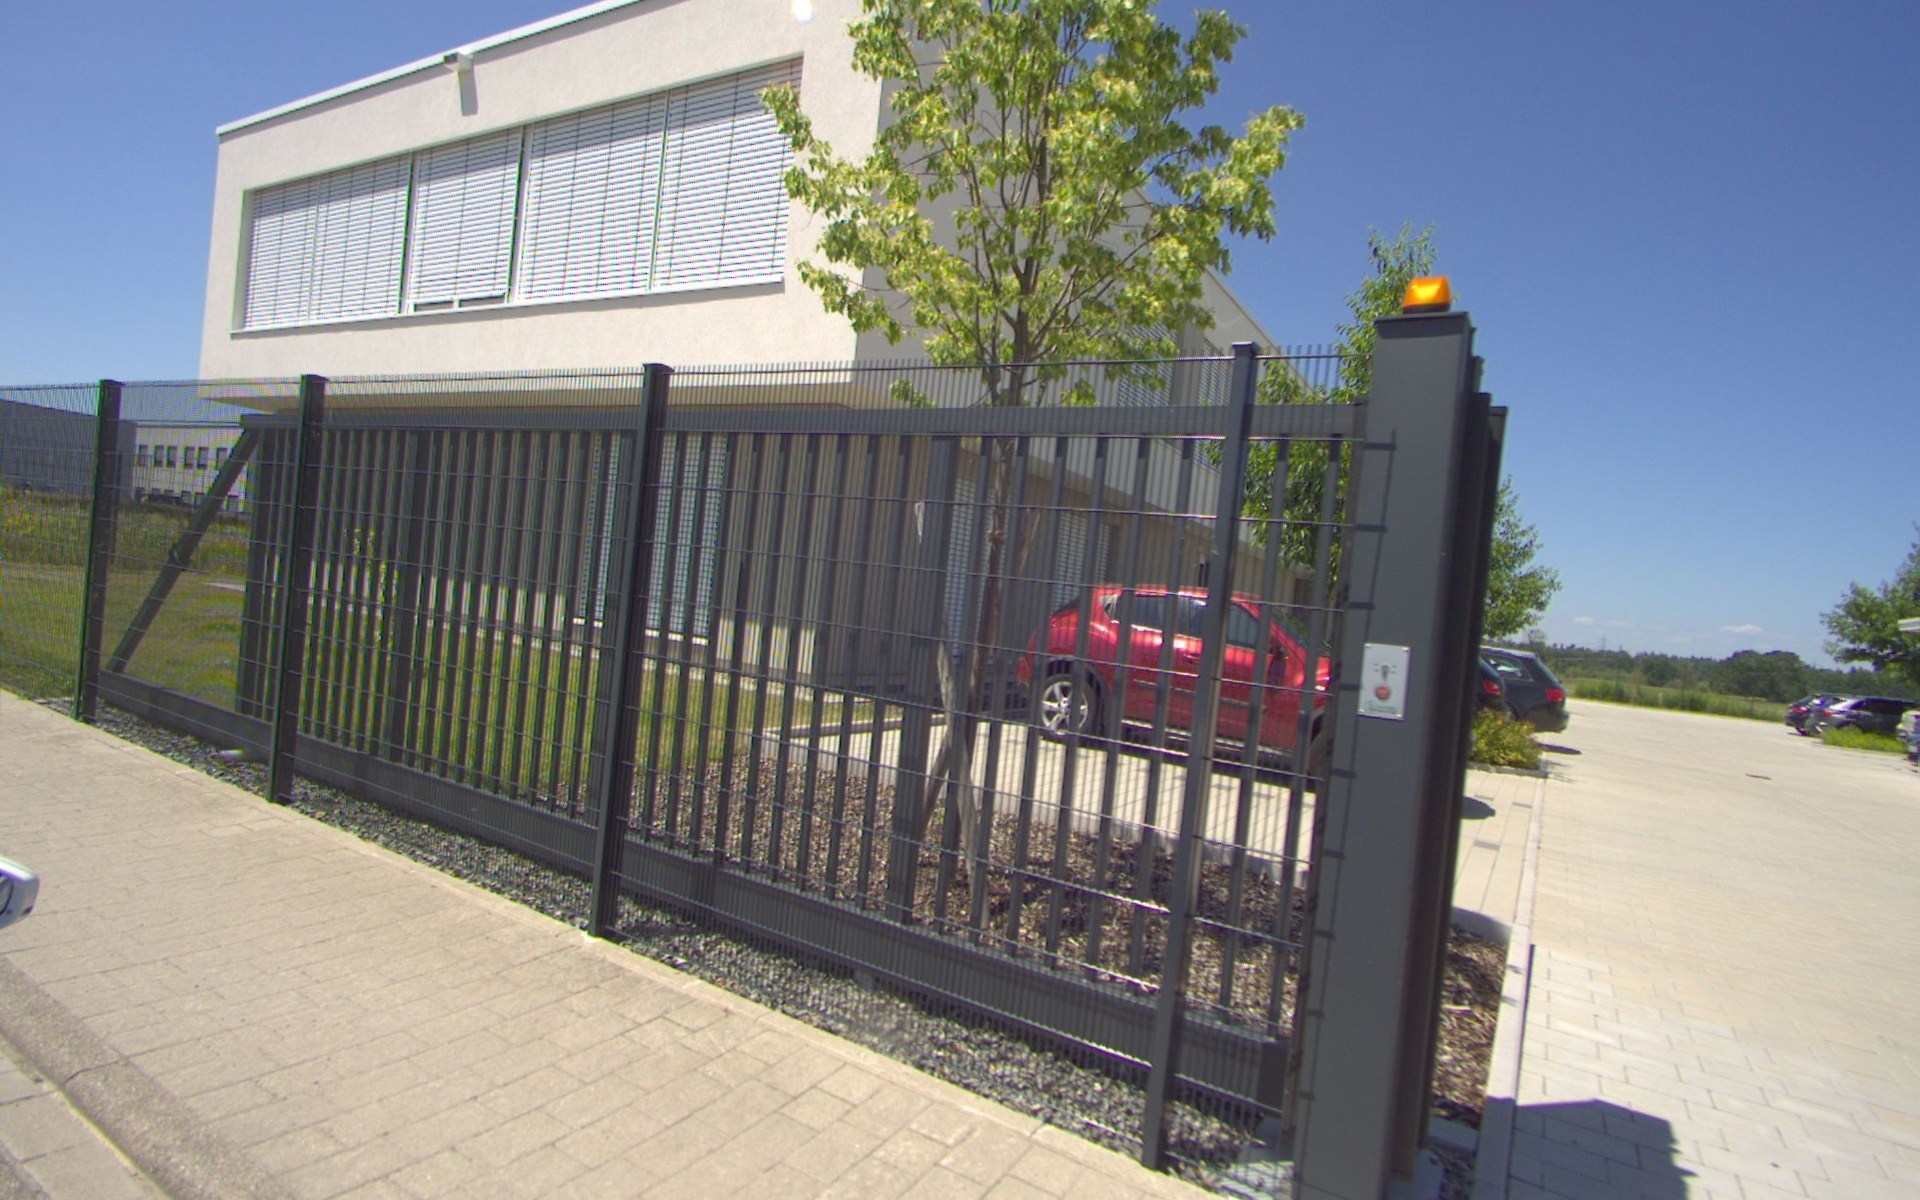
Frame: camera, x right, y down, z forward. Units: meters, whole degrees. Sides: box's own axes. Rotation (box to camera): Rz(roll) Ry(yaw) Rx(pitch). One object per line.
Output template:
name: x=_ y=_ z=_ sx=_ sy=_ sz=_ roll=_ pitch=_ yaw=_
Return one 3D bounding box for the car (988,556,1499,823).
car: x=2.492 y=0.669 z=9.091 sx=4.007 sy=1.577 sz=1.671 roll=8 pitch=1 yaw=28

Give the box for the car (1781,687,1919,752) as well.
car: x=28.373 y=3.765 z=31.378 sx=3.871 sy=1.450 sz=1.671 roll=8 pitch=1 yaw=29

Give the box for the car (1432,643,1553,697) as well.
car: x=20.322 y=2.653 z=38.487 sx=3.871 sy=1.450 sz=1.671 roll=8 pitch=1 yaw=29

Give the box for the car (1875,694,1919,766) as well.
car: x=22.189 y=3.040 z=21.192 sx=3.871 sy=1.450 sz=1.671 roll=8 pitch=1 yaw=29

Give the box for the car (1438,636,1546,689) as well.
car: x=22.923 y=2.681 z=43.413 sx=3.871 sy=1.687 sz=1.671 roll=8 pitch=1 yaw=29

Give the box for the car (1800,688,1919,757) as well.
car: x=25.460 y=3.429 z=27.143 sx=3.871 sy=1.450 sz=1.671 roll=8 pitch=1 yaw=29

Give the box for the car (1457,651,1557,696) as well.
car: x=25.258 y=3.375 z=46.556 sx=3.871 sy=1.450 sz=1.671 roll=8 pitch=1 yaw=29

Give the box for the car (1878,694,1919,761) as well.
car: x=23.978 y=3.225 z=23.070 sx=3.871 sy=1.450 sz=1.671 roll=8 pitch=1 yaw=29

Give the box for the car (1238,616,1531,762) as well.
car: x=6.167 y=1.220 z=14.709 sx=3.614 sy=1.450 sz=1.671 roll=8 pitch=1 yaw=29

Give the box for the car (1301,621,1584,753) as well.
car: x=7.844 y=1.358 z=16.554 sx=3.871 sy=1.450 sz=1.671 roll=8 pitch=1 yaw=29
